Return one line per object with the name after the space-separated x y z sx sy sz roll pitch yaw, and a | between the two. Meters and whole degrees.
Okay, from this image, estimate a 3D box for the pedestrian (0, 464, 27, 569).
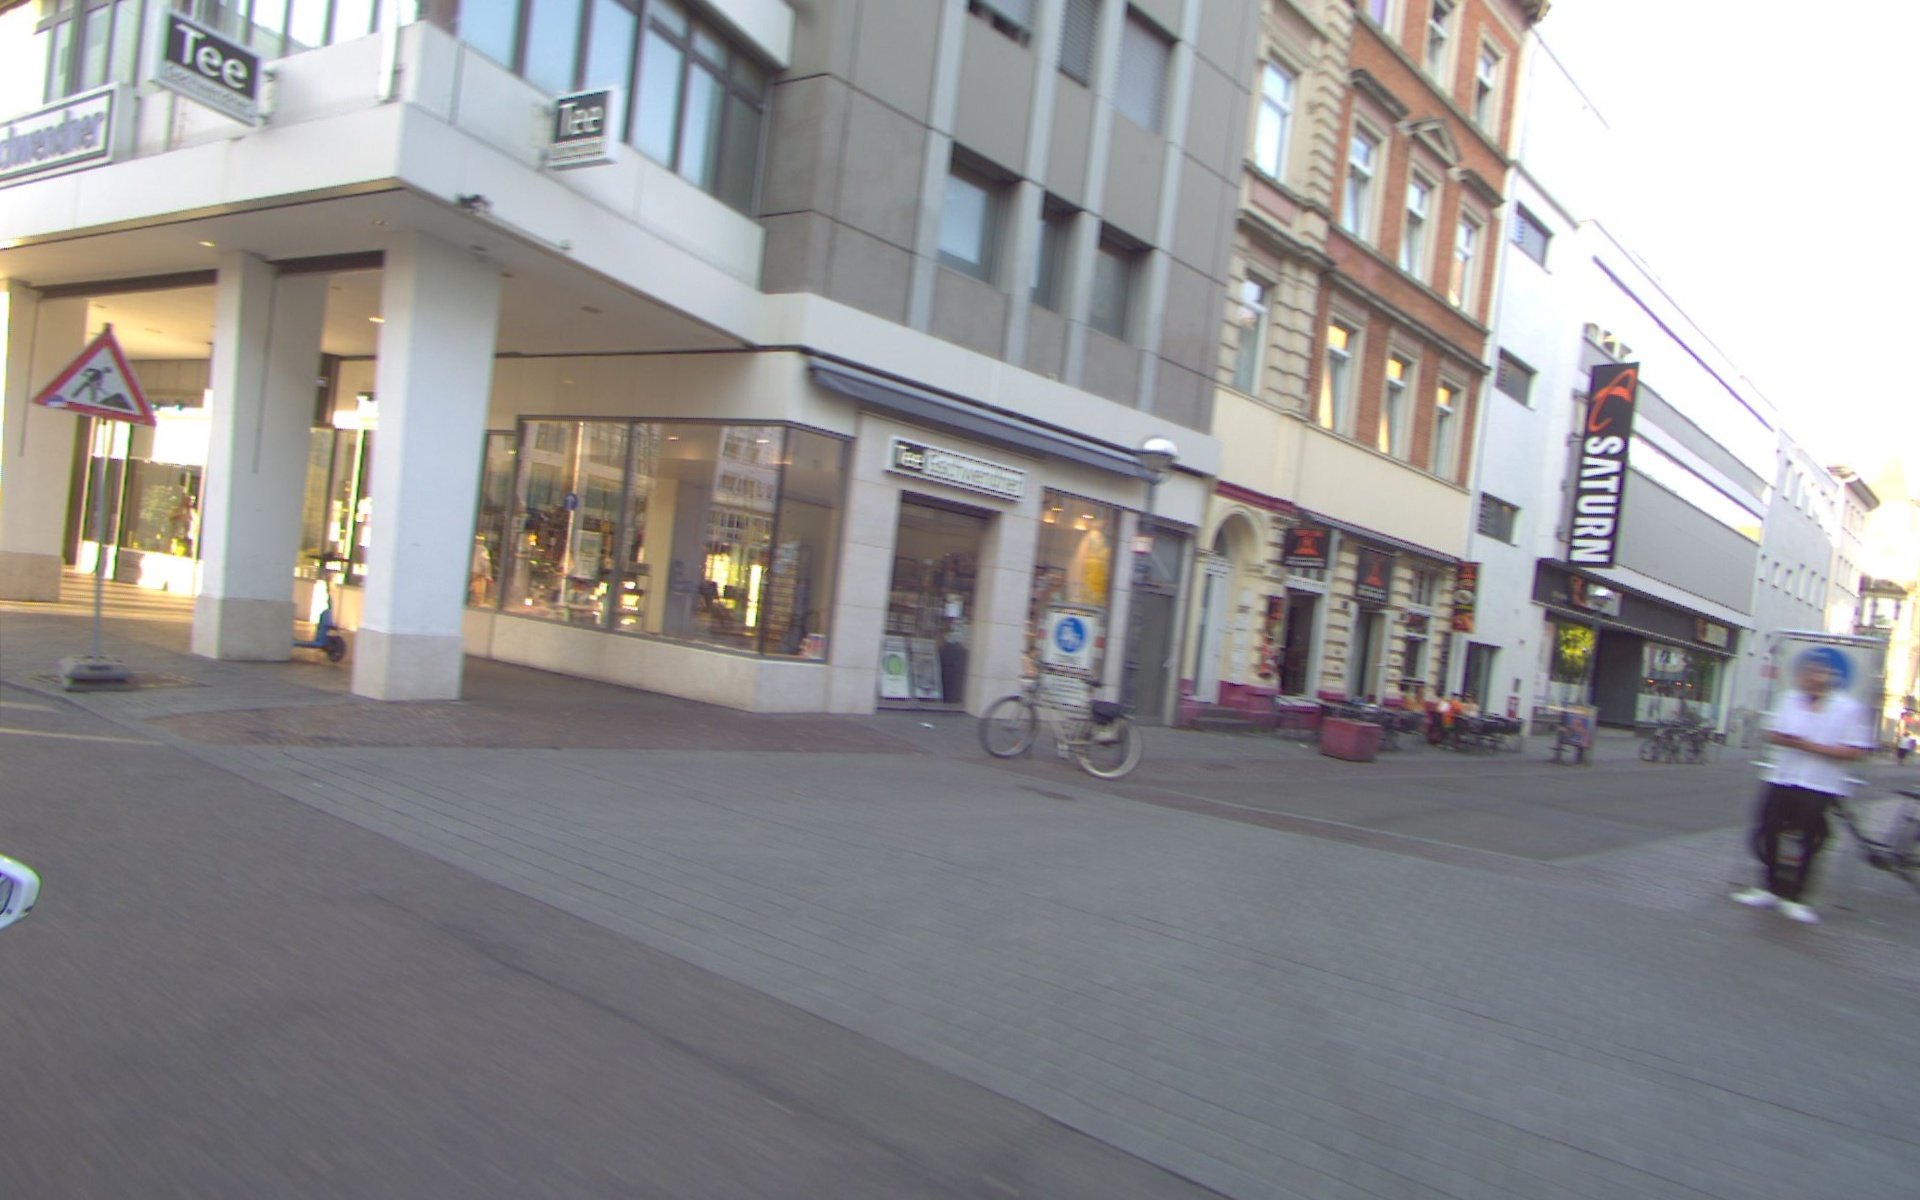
-17.579 -1.545 18.236 0.621 1.837 0.700 7 -1 35 | pedestrian

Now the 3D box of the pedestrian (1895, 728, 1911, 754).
43.844 6.569 46.782 0.411 1.137 0.388 6 1 -38 | pedestrian

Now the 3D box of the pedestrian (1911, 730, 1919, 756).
44.210 6.601 46.380 0.411 1.137 0.388 6 1 -38 | pedestrian

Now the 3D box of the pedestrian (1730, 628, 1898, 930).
6.221 1.270 7.337 0.538 2.039 0.639 6 1 -35 | pedestrian

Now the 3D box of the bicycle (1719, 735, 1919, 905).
8.046 1.953 8.943 0.764 1.195 1.832 7 -2 -31 | bicycle

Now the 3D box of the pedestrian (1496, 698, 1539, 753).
12.317 2.774 22.243 0.520 1.137 0.559 6 1 -38 | pedestrian

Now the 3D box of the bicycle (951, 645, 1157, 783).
0.946 1.136 10.286 1.816 1.041 0.770 9 0 32 | bicycle

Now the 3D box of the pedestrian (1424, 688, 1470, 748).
9.907 2.400 20.459 0.520 1.137 0.559 6 1 -38 | pedestrian

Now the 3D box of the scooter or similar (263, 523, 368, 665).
-7.425 -0.081 11.569 1.292 1.507 0.314 7 1 29 | scooter or similar
